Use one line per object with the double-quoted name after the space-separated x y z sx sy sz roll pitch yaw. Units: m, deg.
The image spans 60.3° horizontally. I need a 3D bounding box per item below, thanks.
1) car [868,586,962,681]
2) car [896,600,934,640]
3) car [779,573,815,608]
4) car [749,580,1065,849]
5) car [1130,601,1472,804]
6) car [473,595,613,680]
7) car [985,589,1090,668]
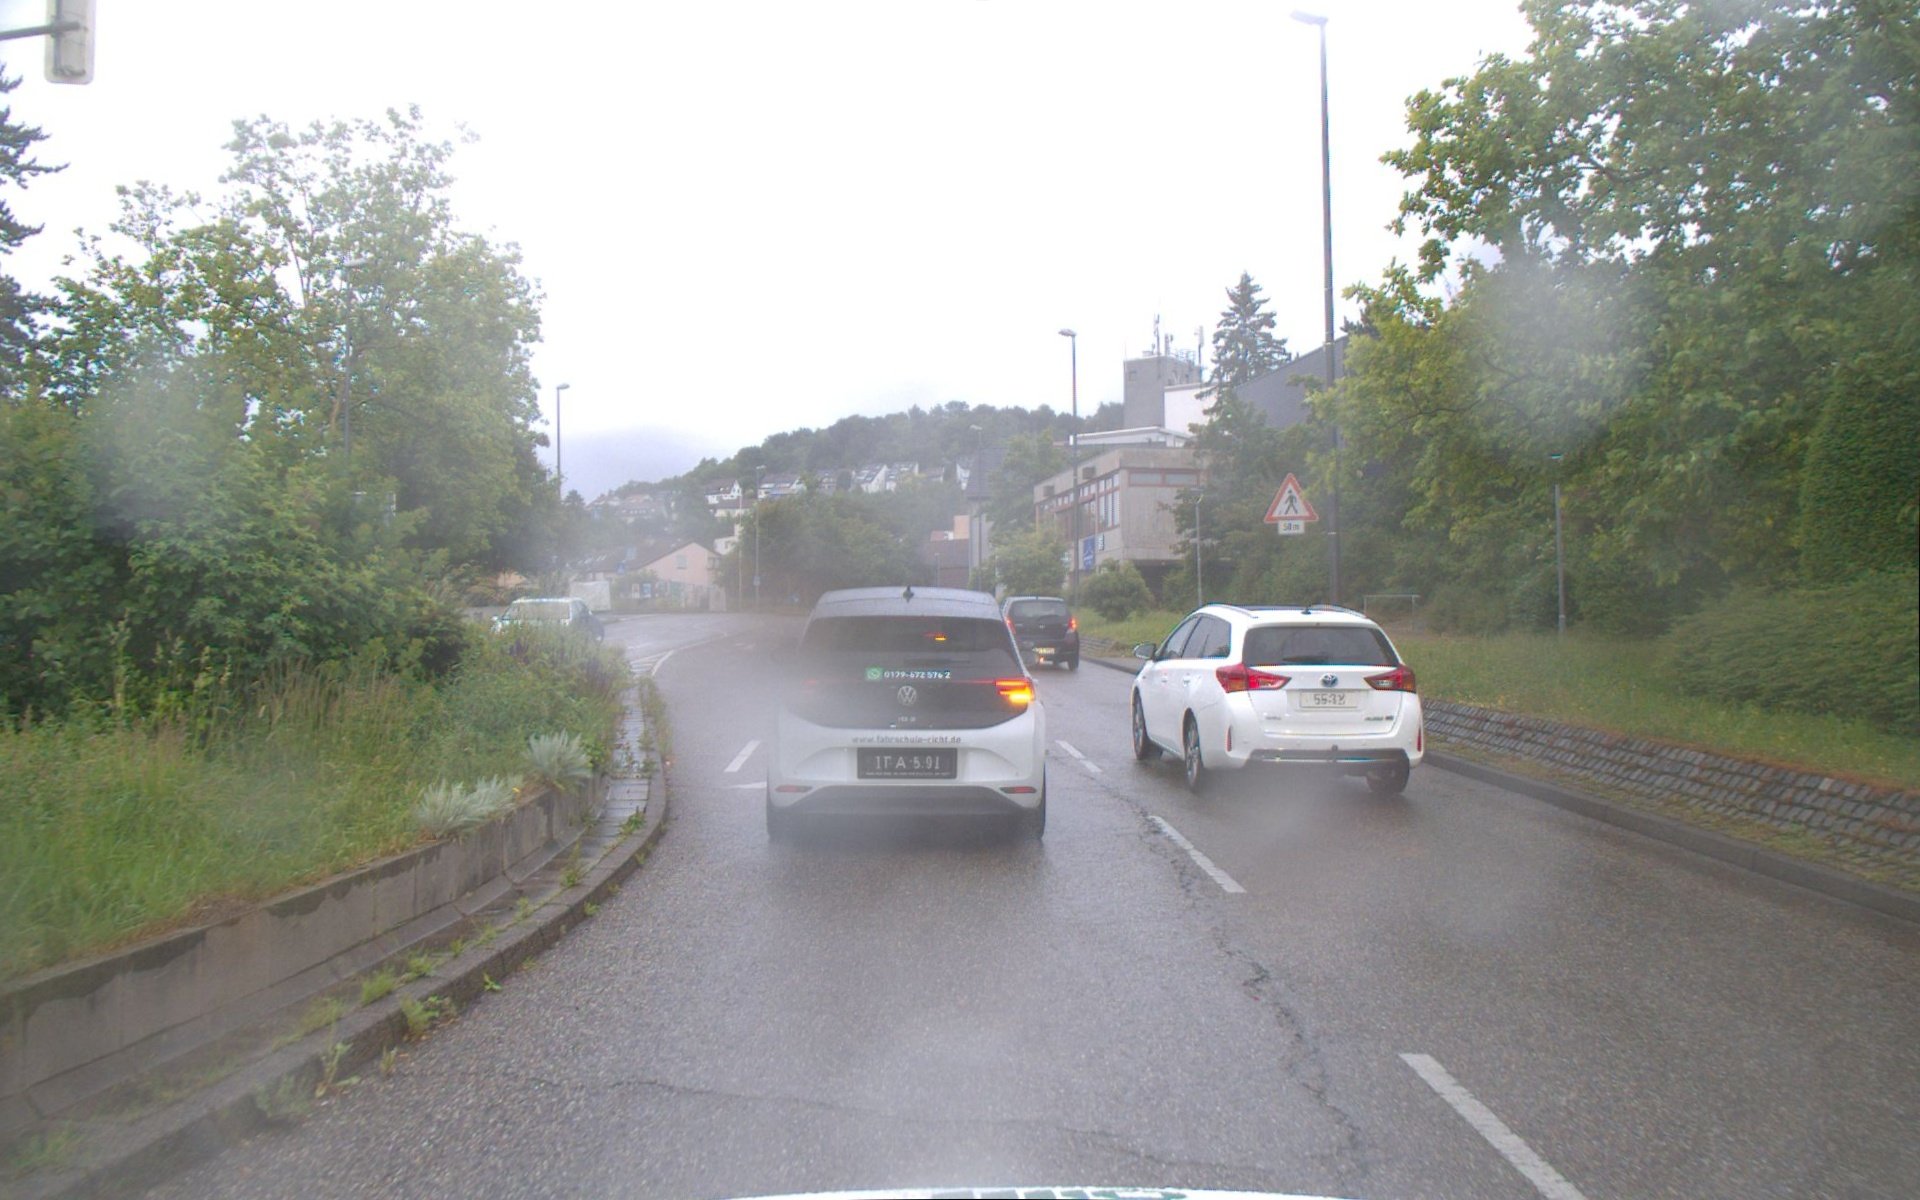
-0.846 0.546 29.342 1.536 1.557 3.998 0 0 -3 "car"
-2.407 1.068 88.898 1.953 2.049 3.999 1 -1 -1 "car"
-9.963 -0.544 101.437 1.954 2.049 3.998 1 -1 -3 "car"
-0.314 0.678 11.489 1.791 1.526 4.167 0 -1 -1 "car"
2.658 0.760 13.939 1.811 1.434 4.298 0 -1 -3 "car"
-9.000 0.779 36.068 1.953 1.691 4.596 -1 0 -1 "car"
1.572 0.595 34.827 1.953 1.478 3.770 -3 -1 -1 "car"
